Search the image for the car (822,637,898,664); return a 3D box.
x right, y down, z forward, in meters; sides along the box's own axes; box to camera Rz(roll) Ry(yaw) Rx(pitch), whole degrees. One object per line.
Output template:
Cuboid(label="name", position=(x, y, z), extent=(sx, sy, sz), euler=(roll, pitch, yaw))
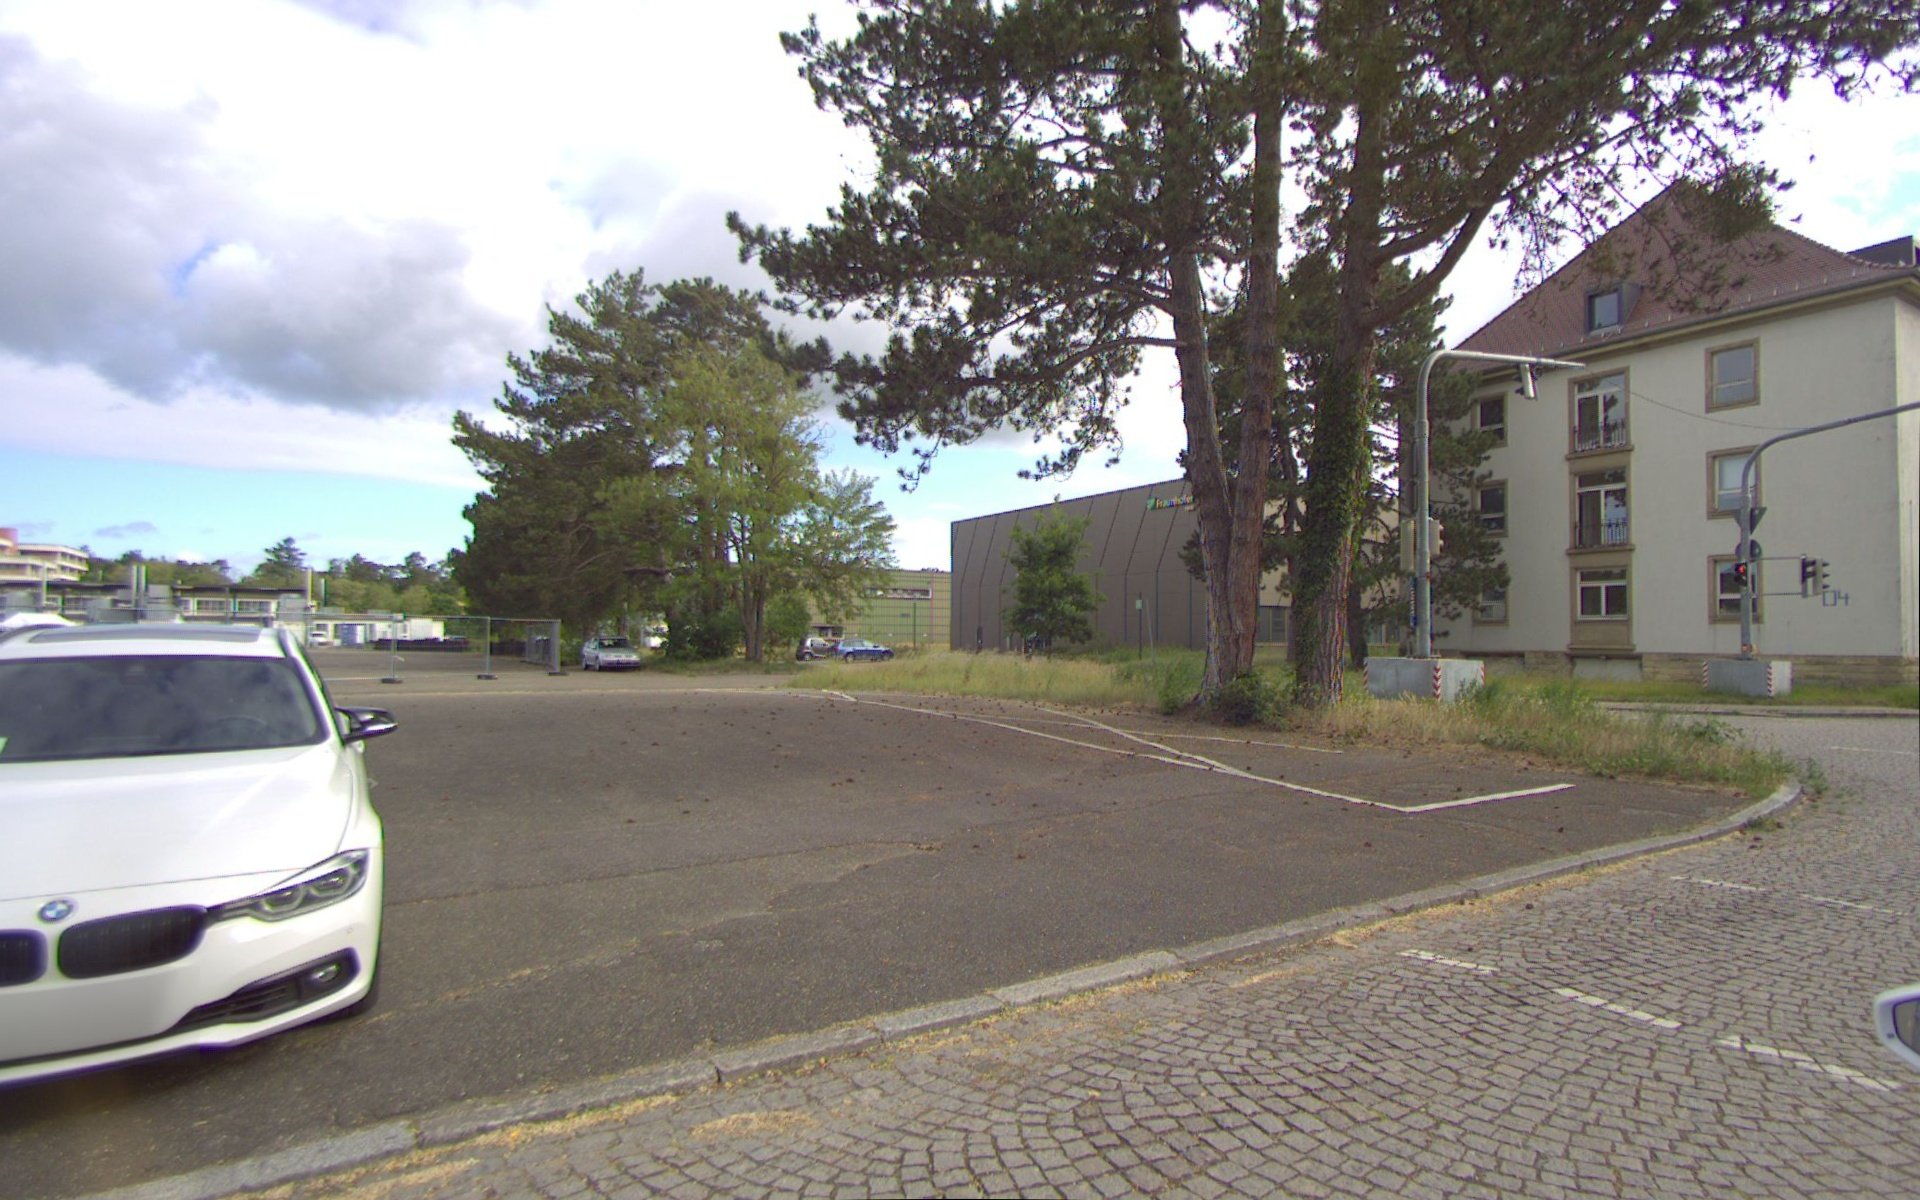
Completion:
Cuboid(label="car", position=(-6.371, 3.191, 64.068), extent=(4.486, 1.552, 1.981), euler=(0, -1, -35))

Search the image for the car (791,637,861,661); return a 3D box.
Cuboid(label="car", position=(-9.453, 3.435, 70.821), extent=(4.480, 1.552, 1.984), euler=(0, -1, -31))

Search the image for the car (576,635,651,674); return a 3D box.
Cuboid(label="car", position=(-14.488, 2.233, 41.876), extent=(1.905, 1.496, 4.329), euler=(2, -3, -34))

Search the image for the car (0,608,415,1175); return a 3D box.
Cuboid(label="car", position=(-3.902, 0.835, 4.823), extent=(1.893, 1.459, 4.777), euler=(1, 0, -33))
